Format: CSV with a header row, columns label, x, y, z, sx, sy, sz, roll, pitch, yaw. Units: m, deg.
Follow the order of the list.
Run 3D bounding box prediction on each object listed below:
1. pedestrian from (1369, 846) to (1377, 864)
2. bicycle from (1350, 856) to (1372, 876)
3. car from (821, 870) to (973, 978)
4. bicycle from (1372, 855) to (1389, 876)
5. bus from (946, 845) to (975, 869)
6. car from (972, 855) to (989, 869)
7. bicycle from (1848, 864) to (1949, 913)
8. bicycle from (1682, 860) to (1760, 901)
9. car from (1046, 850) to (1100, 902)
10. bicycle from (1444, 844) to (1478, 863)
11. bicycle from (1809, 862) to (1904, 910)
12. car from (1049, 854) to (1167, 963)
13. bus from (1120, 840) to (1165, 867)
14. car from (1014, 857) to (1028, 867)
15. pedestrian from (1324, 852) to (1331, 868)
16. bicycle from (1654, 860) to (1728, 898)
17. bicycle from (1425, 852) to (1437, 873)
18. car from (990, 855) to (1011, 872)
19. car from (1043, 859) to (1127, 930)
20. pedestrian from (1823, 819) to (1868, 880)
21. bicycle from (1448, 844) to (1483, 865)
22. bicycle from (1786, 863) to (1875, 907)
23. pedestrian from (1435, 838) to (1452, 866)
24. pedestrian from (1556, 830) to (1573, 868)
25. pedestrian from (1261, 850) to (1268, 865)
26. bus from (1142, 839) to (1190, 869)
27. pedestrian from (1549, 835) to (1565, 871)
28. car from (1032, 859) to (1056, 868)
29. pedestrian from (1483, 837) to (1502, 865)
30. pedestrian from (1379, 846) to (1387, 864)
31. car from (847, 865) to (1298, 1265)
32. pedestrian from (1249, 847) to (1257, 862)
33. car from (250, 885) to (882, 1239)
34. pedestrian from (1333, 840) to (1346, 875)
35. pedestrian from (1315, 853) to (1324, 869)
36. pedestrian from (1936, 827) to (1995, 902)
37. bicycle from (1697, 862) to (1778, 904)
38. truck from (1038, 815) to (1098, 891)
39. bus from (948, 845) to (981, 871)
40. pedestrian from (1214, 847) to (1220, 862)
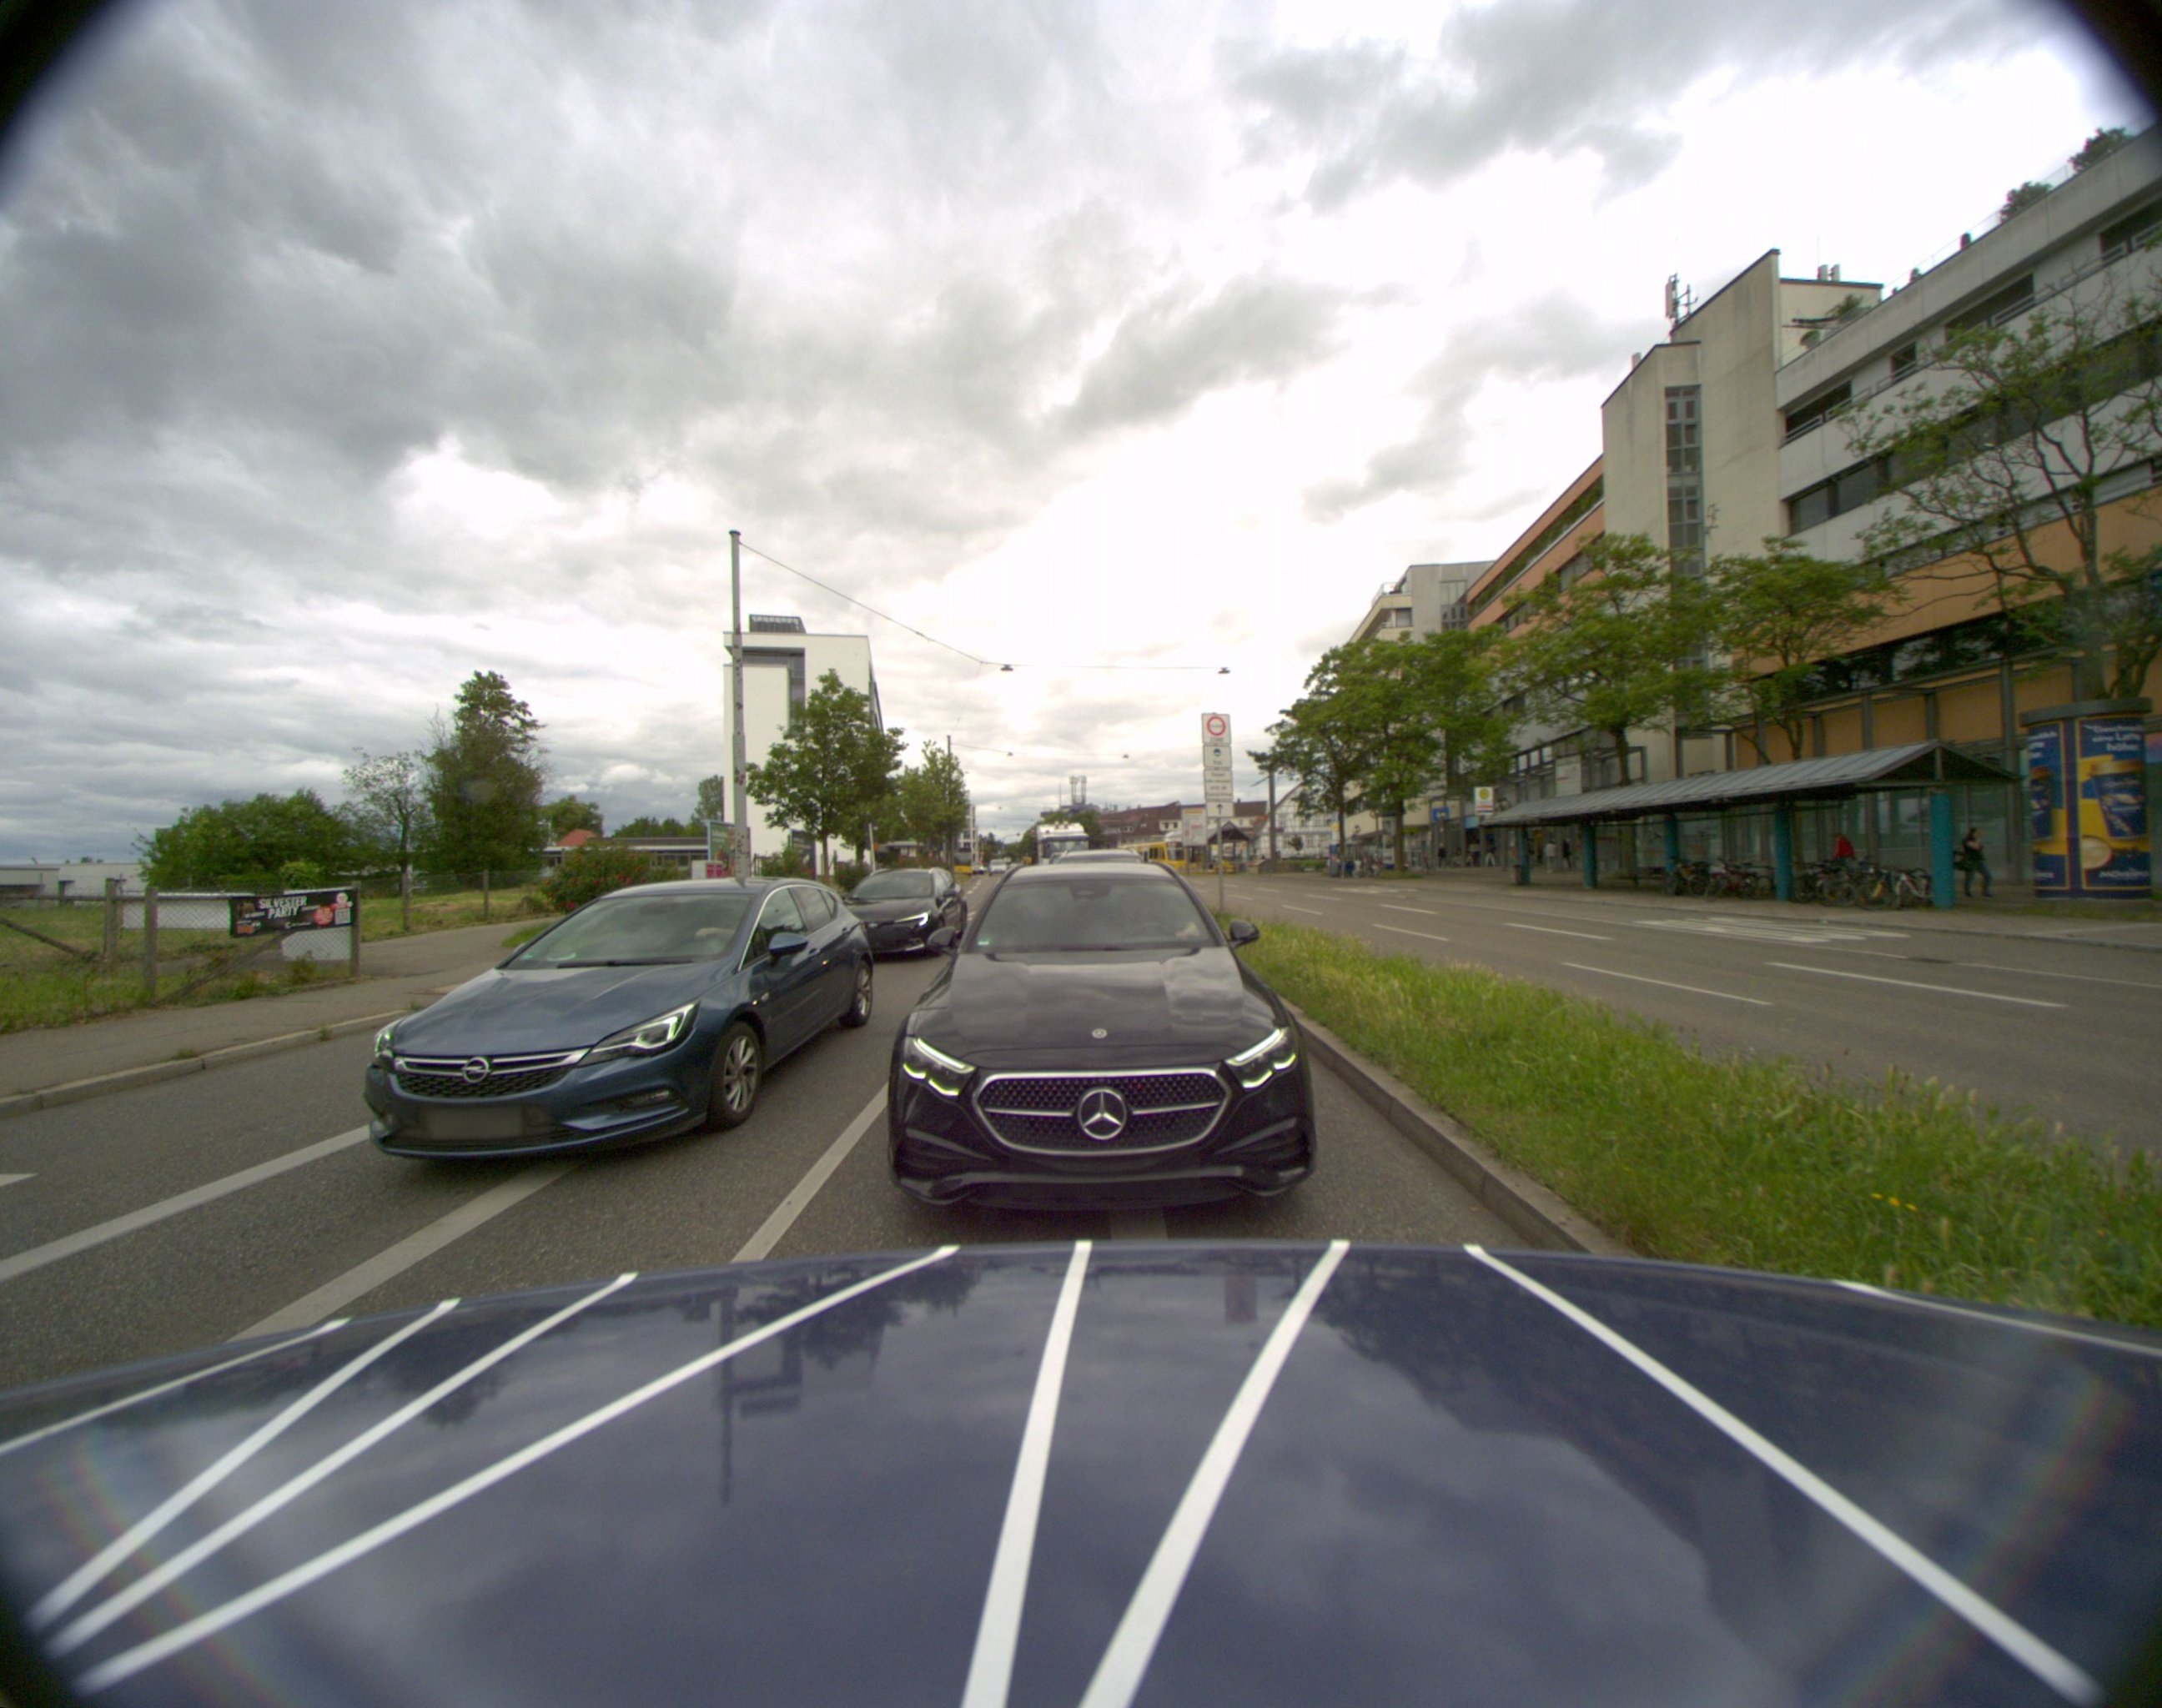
label,x,y,z,sx,sy,sz,roll,pitch,yaw
pedestrian,25.015,0.069,65.015,0.555,1.485,0.454,-1,1,8
bicycle,15.492,0.652,42.010,0.593,1.071,2.041,0,1,38
car,-3.008,1.080,13.246,1.665,1.448,3.921,-2,0,0
bicycle,16.415,0.620,41.639,0.593,1.071,2.041,0,1,29
bus,-15.203,0.343,95.047,2.969,2.616,12.911,-2,1,-11
car,-14.250,1.084,107.474,1.853,1.875,4.132,-3,0,-12
bicycle,18.696,0.782,17.391,1.735,1.035,0.549,-2,1,-2
bicycle,18.295,0.741,21.736,1.735,1.035,0.549,-4,1,-2
car,-0.355,0.741,28.340,1.865,1.773,3.999,-1,0,-2
bicycle,27.771,-0.029,55.544,2.138,1.358,0.620,-2,1,26
bicycle,18.637,0.750,18.277,1.735,1.035,0.549,-3,1,-2
car,0.403,0.819,13.477,1.734,1.601,4.000,-2,0,0
bus,6.953,-0.059,87.945,2.556,2.966,9.790,-1,0,-11
car,-11.701,1.571,148.270,2.001,1.811,3.995,-1,0,-14
pedestrian,18.791,0.462,57.922,0.341,1.172,0.369,-1,1,-9
bicycle,18.216,0.746,22.696,1.735,1.035,0.549,-3,1,-2
bicycle,19.500,0.466,42.378,0.593,1.119,2.040,0,1,24
car,-8.115,0.913,76.325,1.852,1.606,3.780,-3,0,-8
car,0.056,0.909,18.904,1.865,1.520,3.999,-1,0,-1
pedestrian,25.754,-0.151,25.611,0.710,2.002,0.793,-2,1,-8
bicycle,27.009,0.028,53.392,2.139,1.367,0.620,-2,1,18
bicycle,19.036,0.772,19.301,1.735,1.035,0.549,-2,1,-2
pedestrian,24.250,-0.149,50.794,0.765,1.835,0.752,-1,1,1
pedestrian,25.559,-0.252,40.173,0.566,2.002,0.611,-1,1,6
pedestrian,19.230,0.364,79.562,0.577,1.533,0.583,-1,1,-8
bus,8.717,0.002,79.009,2.556,2.966,8.498,-1,0,-11
pedestrian,24.112,-0.050,38.481,0.648,1.799,0.761,0,1,34
car,-6.682,1.776,137.920,3.990,1.545,1.854,-1,1,25
pedestrian,25.402,-0.177,46.882,0.765,1.673,0.752,-1,1,1
pedestrian,25.732,0.075,64.807,0.555,1.485,0.454,-1,1,8
car,-0.043,0.883,5.185,1.793,1.507,4.249,-1,0,0
pedestrian,22.437,0.036,99.091,0.879,2.002,1.010,-1,1,6
car,-2.904,1.048,5.522,1.826,1.402,4.000,-2,0,0
pedestrian,17.303,0.230,50.873,0.590,2.294,0.608,-1,1,-2
pedestrian,22.331,0.630,71.239,0.577,1.533,0.583,-1,1,-8
pedestrian,21.640,0.251,18.596,0.531,1.776,0.770,-1,1,-7
bicycle,17.959,0.788,20.803,1.735,1.035,0.549,-3,1,-2
truck,-0.754,-0.045,36.719,2.490,3.258,7.428,-1,0,-4
bus,-12.798,0.388,82.723,2.969,2.616,12.137,-2,1,-11
pedestrian,18.570,0.106,104.062,0.742,2.002,0.939,-1,1,11
